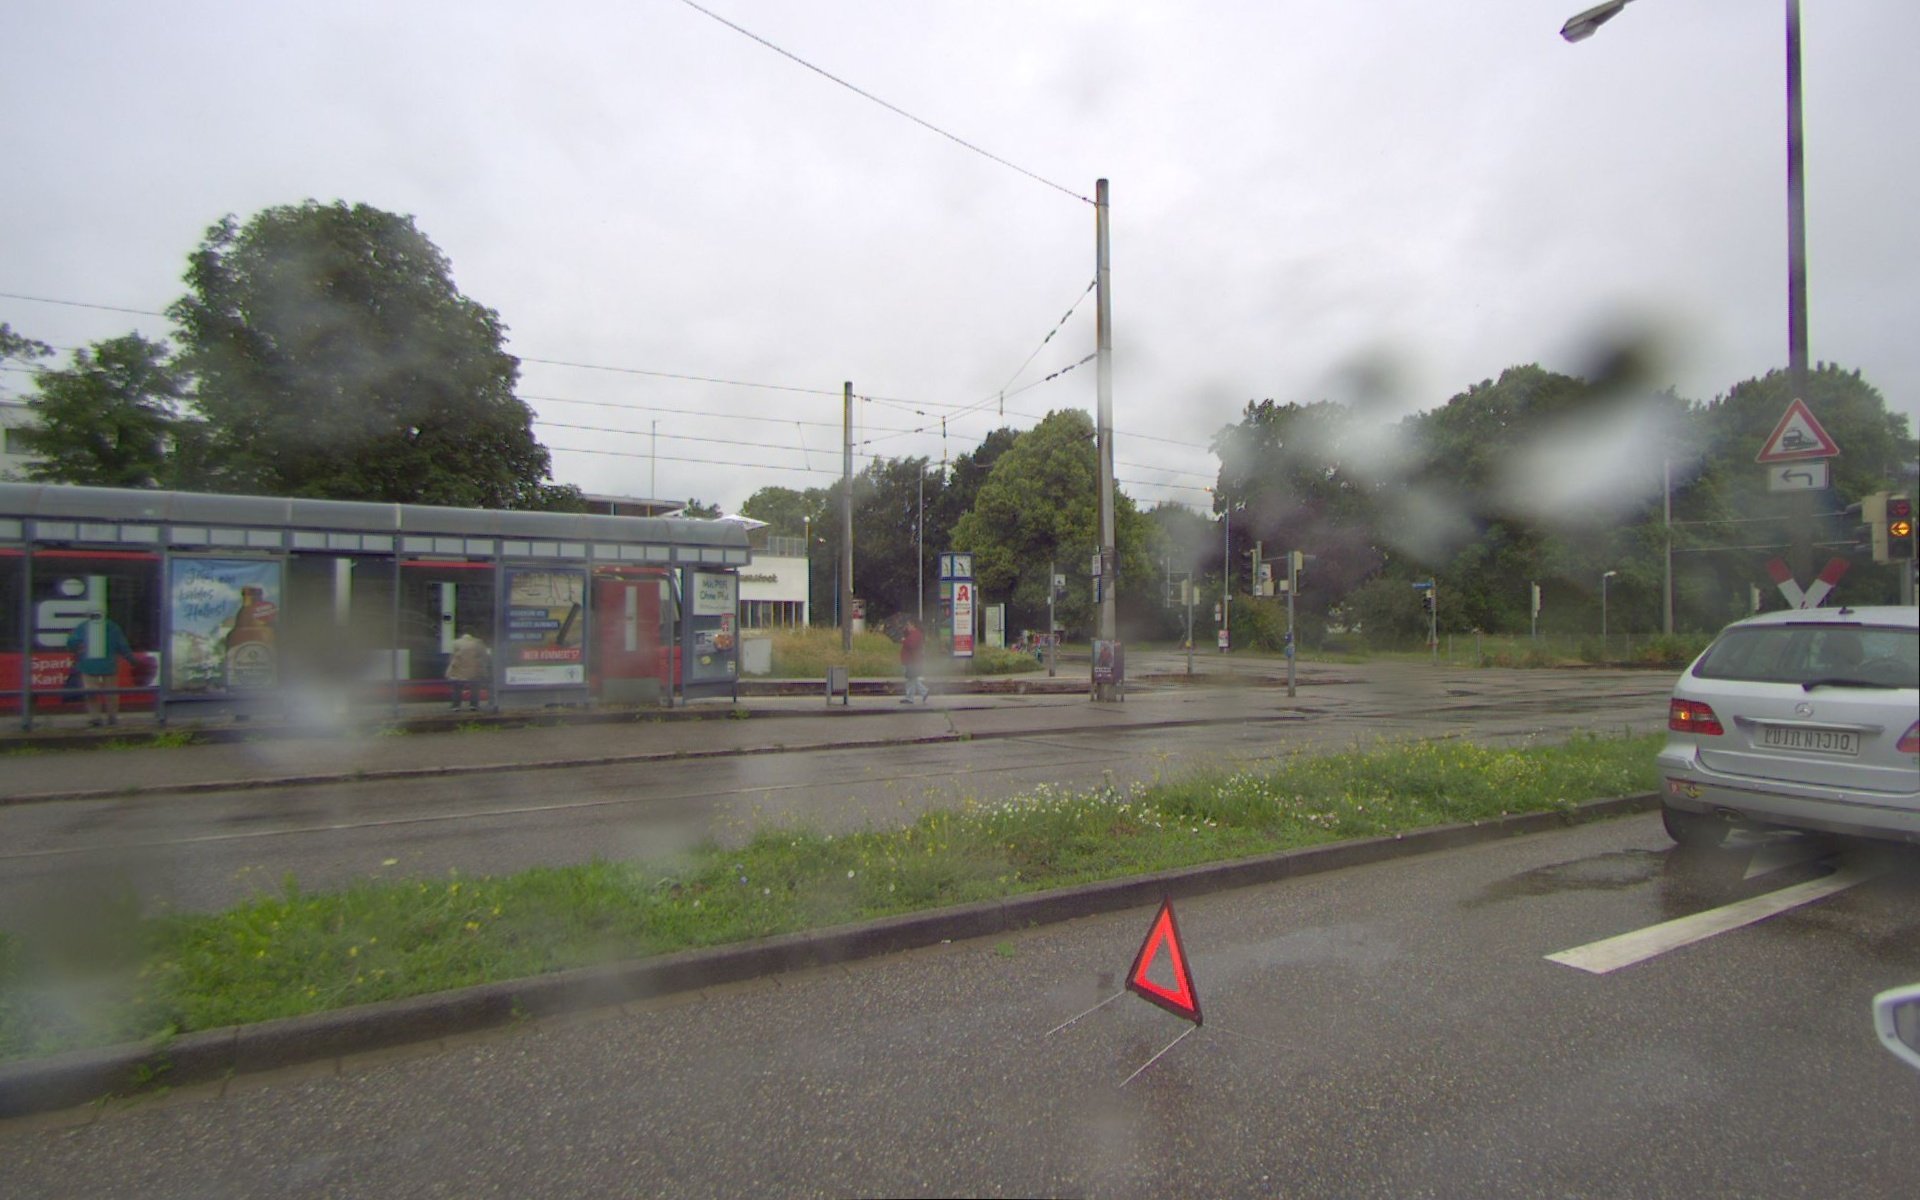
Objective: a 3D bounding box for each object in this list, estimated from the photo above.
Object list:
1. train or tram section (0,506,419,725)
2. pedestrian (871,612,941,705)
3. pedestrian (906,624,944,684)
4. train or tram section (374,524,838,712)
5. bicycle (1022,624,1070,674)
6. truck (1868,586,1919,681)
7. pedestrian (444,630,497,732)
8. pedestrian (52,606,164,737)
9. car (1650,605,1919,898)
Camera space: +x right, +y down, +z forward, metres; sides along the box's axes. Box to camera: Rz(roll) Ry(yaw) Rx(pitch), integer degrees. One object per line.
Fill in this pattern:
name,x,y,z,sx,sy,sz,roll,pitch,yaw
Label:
train or tram section,-14.906,0.297,17.907,9.169,3.435,3.516,1,-2,-31
pedestrian,-1.036,1.099,19.148,0.985,1.698,0.920,1,0,-30
pedestrian,-1.030,1.559,29.219,0.795,1.679,0.776,1,0,-31
train or tram section,-7.620,0.446,22.231,9.169,3.434,3.516,1,-2,-31
bicycle,3.198,1.798,37.134,1.714,1.784,0.637,1,-1,-30
truck,46.809,1.602,47.217,10.290,4.223,3.367,2,0,-32
pedestrian,-7.330,1.188,15.033,0.691,1.472,0.623,1,-1,-29
pedestrian,-11.001,0.900,13.008,0.917,1.618,0.801,1,-1,-28
car,6.585,0.848,6.783,3.968,1.564,1.727,1,-1,-32
